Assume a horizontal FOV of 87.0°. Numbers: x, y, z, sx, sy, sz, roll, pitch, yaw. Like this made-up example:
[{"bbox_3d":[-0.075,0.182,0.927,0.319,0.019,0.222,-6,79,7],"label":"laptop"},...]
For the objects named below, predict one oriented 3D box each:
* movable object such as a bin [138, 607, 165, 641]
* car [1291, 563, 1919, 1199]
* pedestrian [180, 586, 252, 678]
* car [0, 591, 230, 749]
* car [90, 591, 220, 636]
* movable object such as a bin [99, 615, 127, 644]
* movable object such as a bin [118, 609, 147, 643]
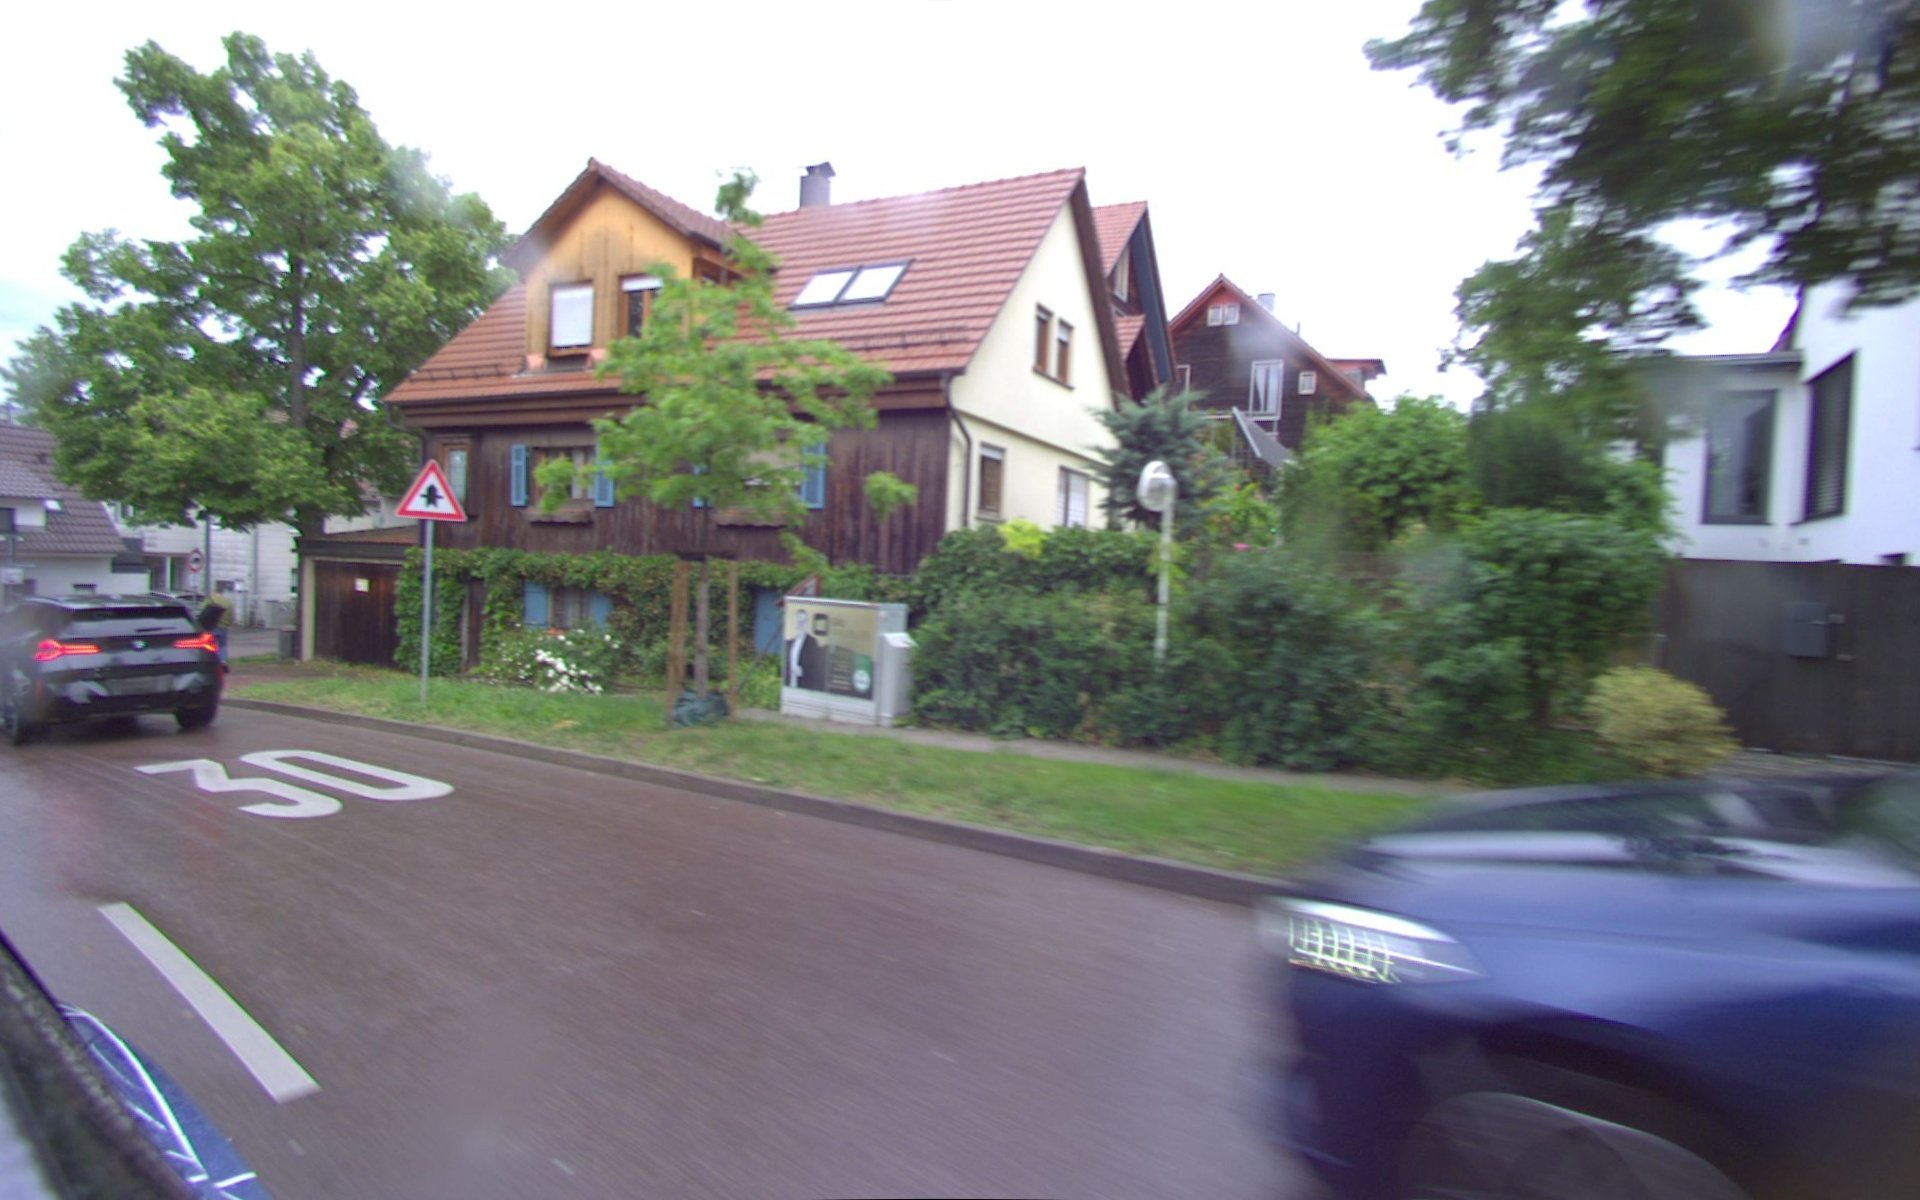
[{"bbox_3d":[-27.467,0.824,34.372,0.513,1.132,0.527,-1,0,18],"label":"movable object such as a bin"},{"bbox_3d":[2.767,0.648,1.351,4.063,1.451,1.746,-1,0,43],"label":"car"},{"bbox_3d":[-15.467,0.645,21.056,0.892,1.844,0.960,-1,0,35],"label":"pedestrian"},{"bbox_3d":[-10.832,0.745,12.578,4.136,1.628,1.869,-1,0,40],"label":"car"},{"bbox_3d":[-29.085,0.488,36.598,3.964,1.544,1.718,-1,0,16],"label":"car"},{"bbox_3d":[-27.877,0.964,33.307,0.497,0.947,0.515,-1,0,17],"label":"movable object such as a bin"},{"bbox_3d":[-27.657,0.867,33.831,0.513,1.132,0.543,-1,0,17],"label":"movable object such as a bin"}]
